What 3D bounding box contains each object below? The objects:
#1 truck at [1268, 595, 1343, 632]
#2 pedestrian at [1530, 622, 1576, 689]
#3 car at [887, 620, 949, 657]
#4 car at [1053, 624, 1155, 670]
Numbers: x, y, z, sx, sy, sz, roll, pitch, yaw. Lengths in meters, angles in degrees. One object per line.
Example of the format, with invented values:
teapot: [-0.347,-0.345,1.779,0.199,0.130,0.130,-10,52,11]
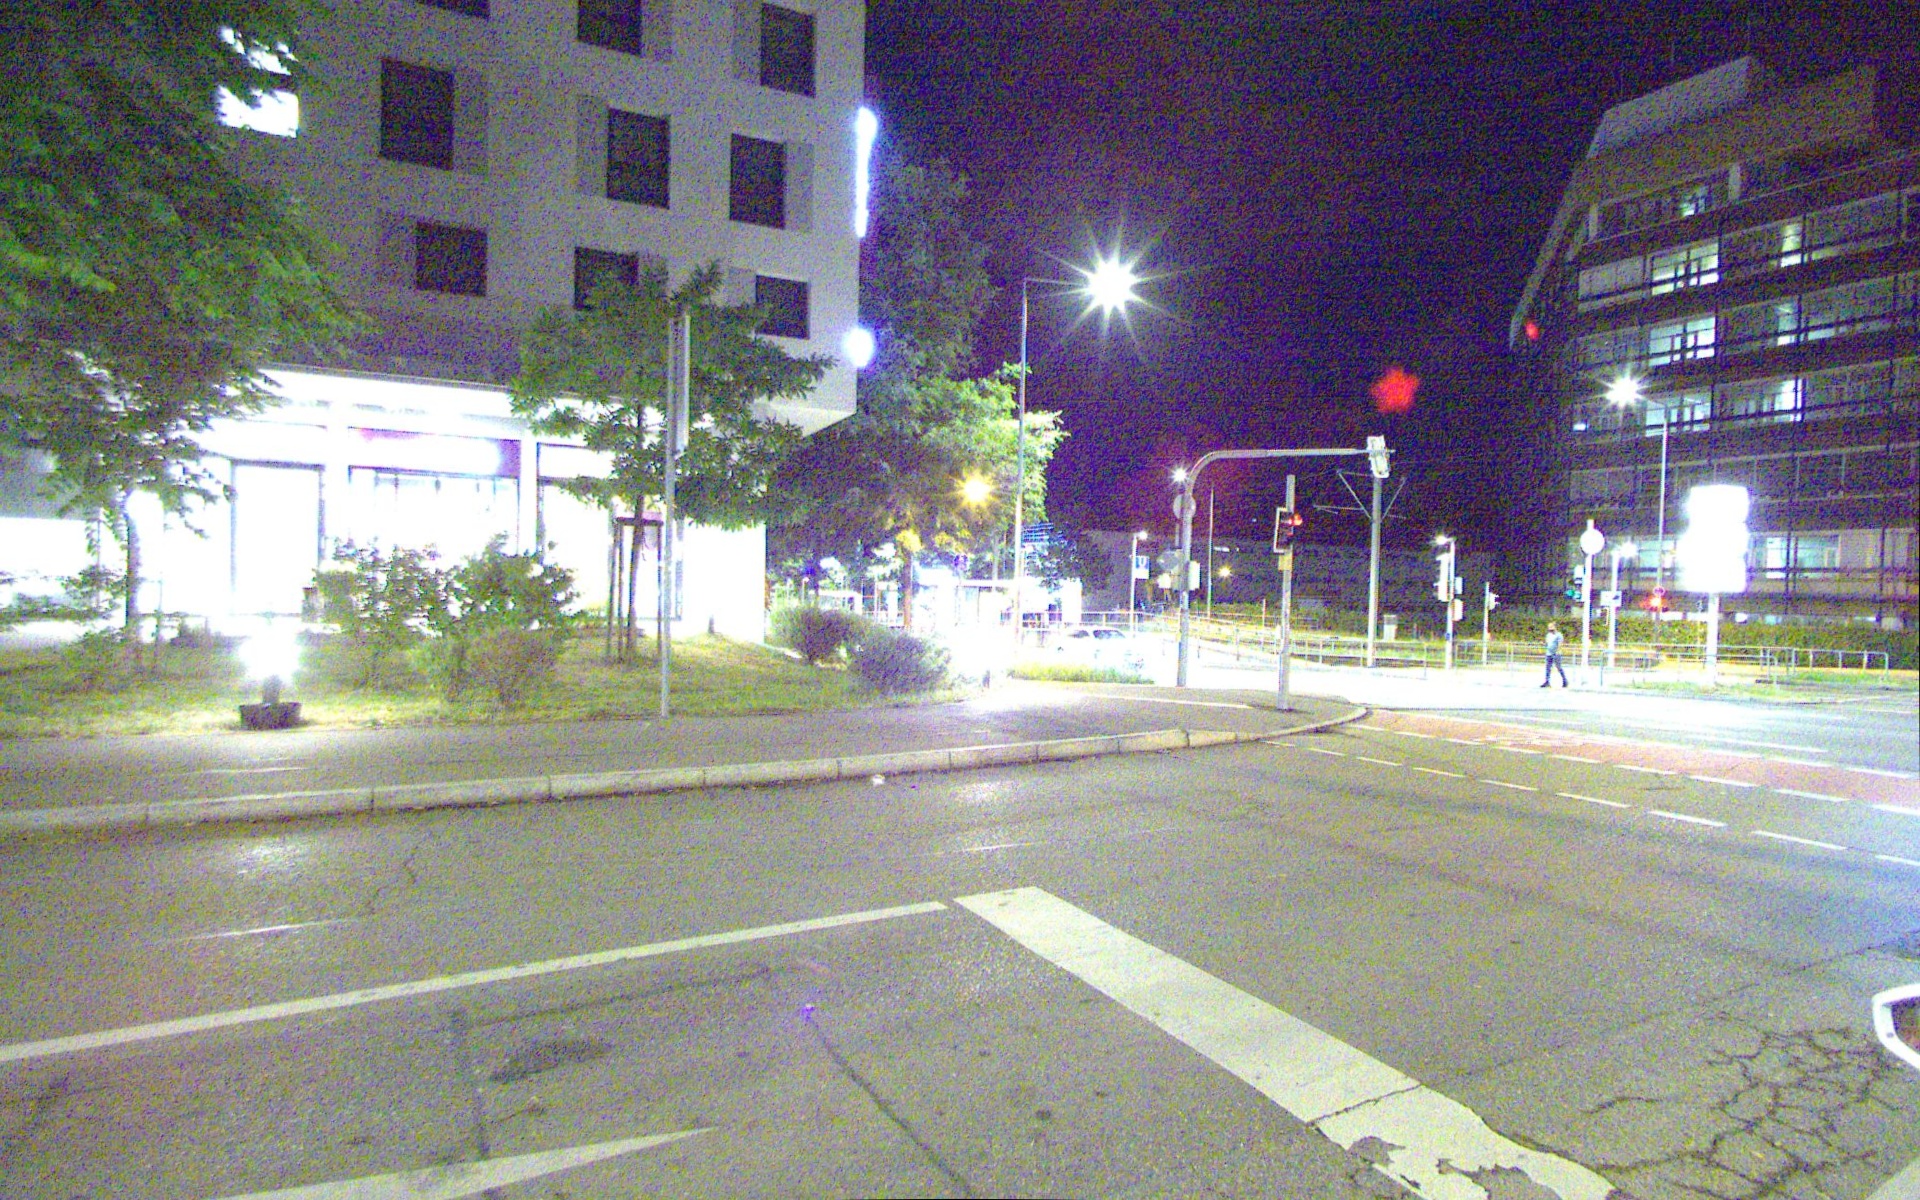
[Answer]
truck: [30.757,1.172,89.598,2.877,3.129,5.873,2,0,-28]
pedestrian: [15.147,1.411,25.657,0.854,1.656,0.665,2,0,-34]
car: [-2.009,1.783,47.342,1.877,1.592,3.984,2,-1,-18]
car: [5.134,1.648,36.362,1.793,1.522,4.177,0,-1,-23]
